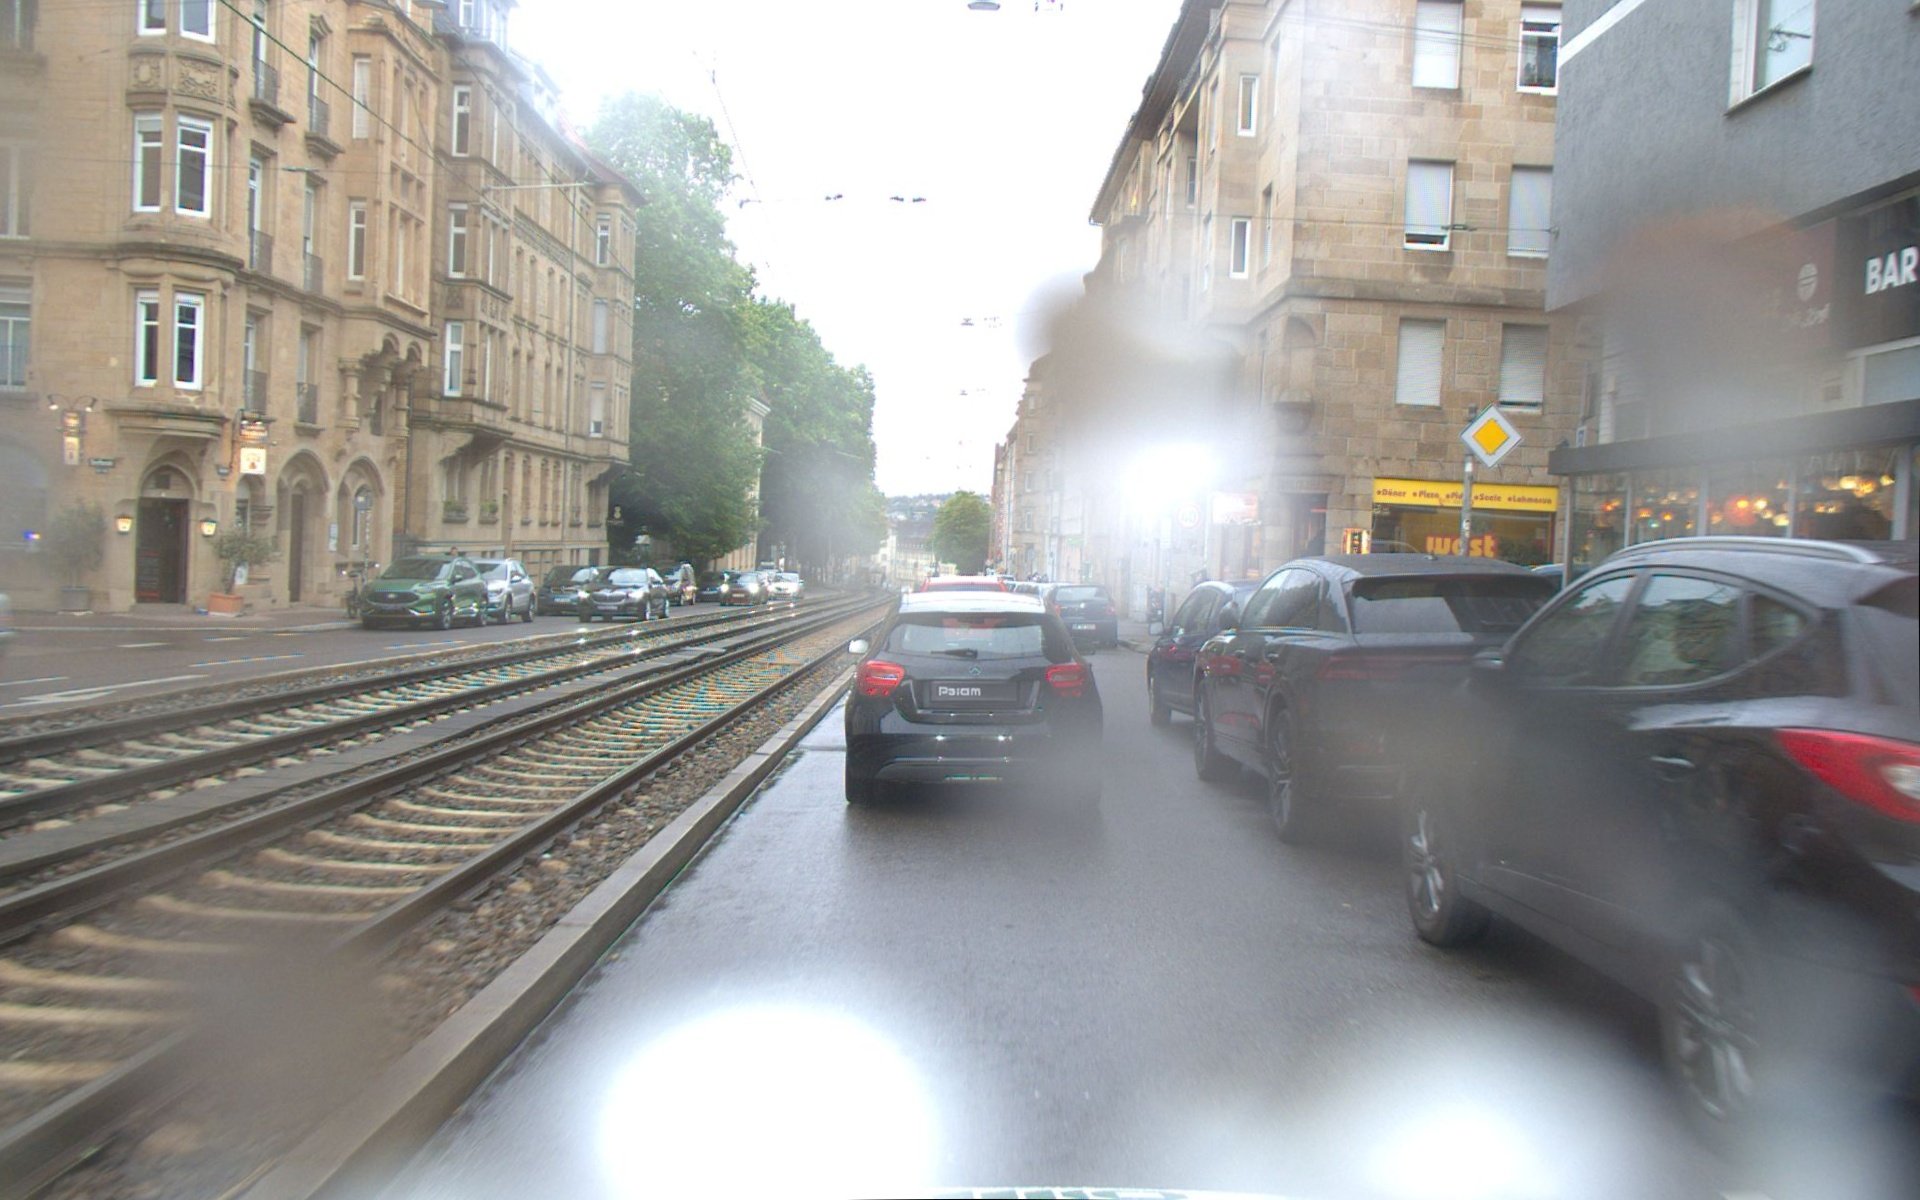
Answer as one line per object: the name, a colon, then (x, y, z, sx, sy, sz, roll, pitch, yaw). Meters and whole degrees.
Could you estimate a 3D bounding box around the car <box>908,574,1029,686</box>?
car: (0.090, 0.379, 24.464, 1.616, 1.477, 4.000, 1, 1, -1)

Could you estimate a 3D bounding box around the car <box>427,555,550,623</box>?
car: (-12.137, -0.297, 42.837, 1.769, 1.624, 4.526, 1, 1, 1)

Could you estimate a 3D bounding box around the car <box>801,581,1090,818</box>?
car: (-0.049, 0.606, 12.470, 1.828, 1.477, 4.001, 0, 1, 1)

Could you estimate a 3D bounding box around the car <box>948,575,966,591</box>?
car: (-0.243, -1.554, 149.335, 1.580, 1.340, 4.000, 1, 1, 0)

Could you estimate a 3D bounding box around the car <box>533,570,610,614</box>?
car: (-12.338, -0.278, 52.684, 1.536, 1.339, 3.482, 1, 1, 1)

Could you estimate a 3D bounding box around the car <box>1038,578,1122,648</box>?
car: (2.713, 0.257, 38.027, 1.588, 1.510, 4.000, 1, 1, 0)

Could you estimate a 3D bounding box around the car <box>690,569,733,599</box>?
car: (-12.338, -0.786, 82.251, 1.536, 1.438, 3.482, 1, 1, 1)

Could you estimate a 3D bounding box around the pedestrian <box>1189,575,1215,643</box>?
pedestrian: (5.479, 0.197, 37.412, 0.445, 1.492, 0.610, 2, 0, -1)

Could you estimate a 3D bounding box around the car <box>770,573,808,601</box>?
car: (-9.095, -0.707, 88.274, 1.536, 1.438, 3.482, 1, 1, 1)

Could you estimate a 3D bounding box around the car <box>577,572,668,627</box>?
car: (-9.205, -0.036, 45.338, 1.660, 1.412, 3.482, 1, 1, 1)

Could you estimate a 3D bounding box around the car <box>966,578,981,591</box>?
car: (1.413, -1.613, 174.927, 1.580, 1.340, 4.000, 1, 1, 0)

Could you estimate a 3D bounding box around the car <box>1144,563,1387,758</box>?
car: (2.818, 0.483, 16.047, 1.580, 1.633, 4.000, 1, 1, 0)

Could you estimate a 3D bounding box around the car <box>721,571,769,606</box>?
car: (-9.296, -0.516, 71.656, 1.536, 1.438, 3.482, 1, 1, 1)

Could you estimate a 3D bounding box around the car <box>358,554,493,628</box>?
car: (-12.114, -0.222, 37.737, 1.686, 1.568, 3.934, 1, 1, 1)

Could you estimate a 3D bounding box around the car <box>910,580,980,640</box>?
car: (-0.343, 0.205, 39.782, 1.580, 1.340, 4.000, 1, 1, 0)

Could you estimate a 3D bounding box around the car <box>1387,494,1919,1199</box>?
car: (2.856, 0.604, 5.611, 1.649, 1.699, 4.122, 1, 1, -1)

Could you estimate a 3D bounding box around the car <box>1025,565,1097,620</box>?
car: (2.598, -0.207, 43.135, 1.580, 1.340, 4.000, 1, 1, 0)

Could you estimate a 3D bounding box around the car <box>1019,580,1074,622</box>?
car: (2.865, 0.004, 55.444, 1.580, 1.340, 4.000, 1, 1, 0)

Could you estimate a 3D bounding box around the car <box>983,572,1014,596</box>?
car: (2.181, -0.929, 94.428, 1.580, 1.340, 4.000, 1, 1, 0)

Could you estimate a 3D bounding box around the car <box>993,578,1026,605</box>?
car: (2.600, -0.456, 87.169, 1.580, 1.340, 4.000, 1, 1, 0)

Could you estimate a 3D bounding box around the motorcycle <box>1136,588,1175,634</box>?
motorcycle: (5.938, 0.312, 50.366, 0.862, 1.338, 2.396, 2, 1, -1)

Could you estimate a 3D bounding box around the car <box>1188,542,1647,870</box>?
car: (2.730, 0.526, 11.040, 1.714, 1.699, 4.703, 1, 1, 0)

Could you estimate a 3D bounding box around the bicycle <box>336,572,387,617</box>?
bicycle: (-14.017, -0.133, 38.777, 0.586, 1.018, 2.078, 1, 1, -5)

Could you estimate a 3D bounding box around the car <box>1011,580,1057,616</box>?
car: (2.866, -0.100, 64.936, 1.580, 1.340, 4.000, 1, 1, 0)

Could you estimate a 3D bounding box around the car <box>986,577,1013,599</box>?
car: (2.520, -0.791, 105.390, 1.580, 1.340, 4.000, 1, 1, 0)

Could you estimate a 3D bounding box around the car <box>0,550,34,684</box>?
car: (-10.879, 0.187, 15.255, 1.768, 1.384, 4.765, 1, 1, 3)
